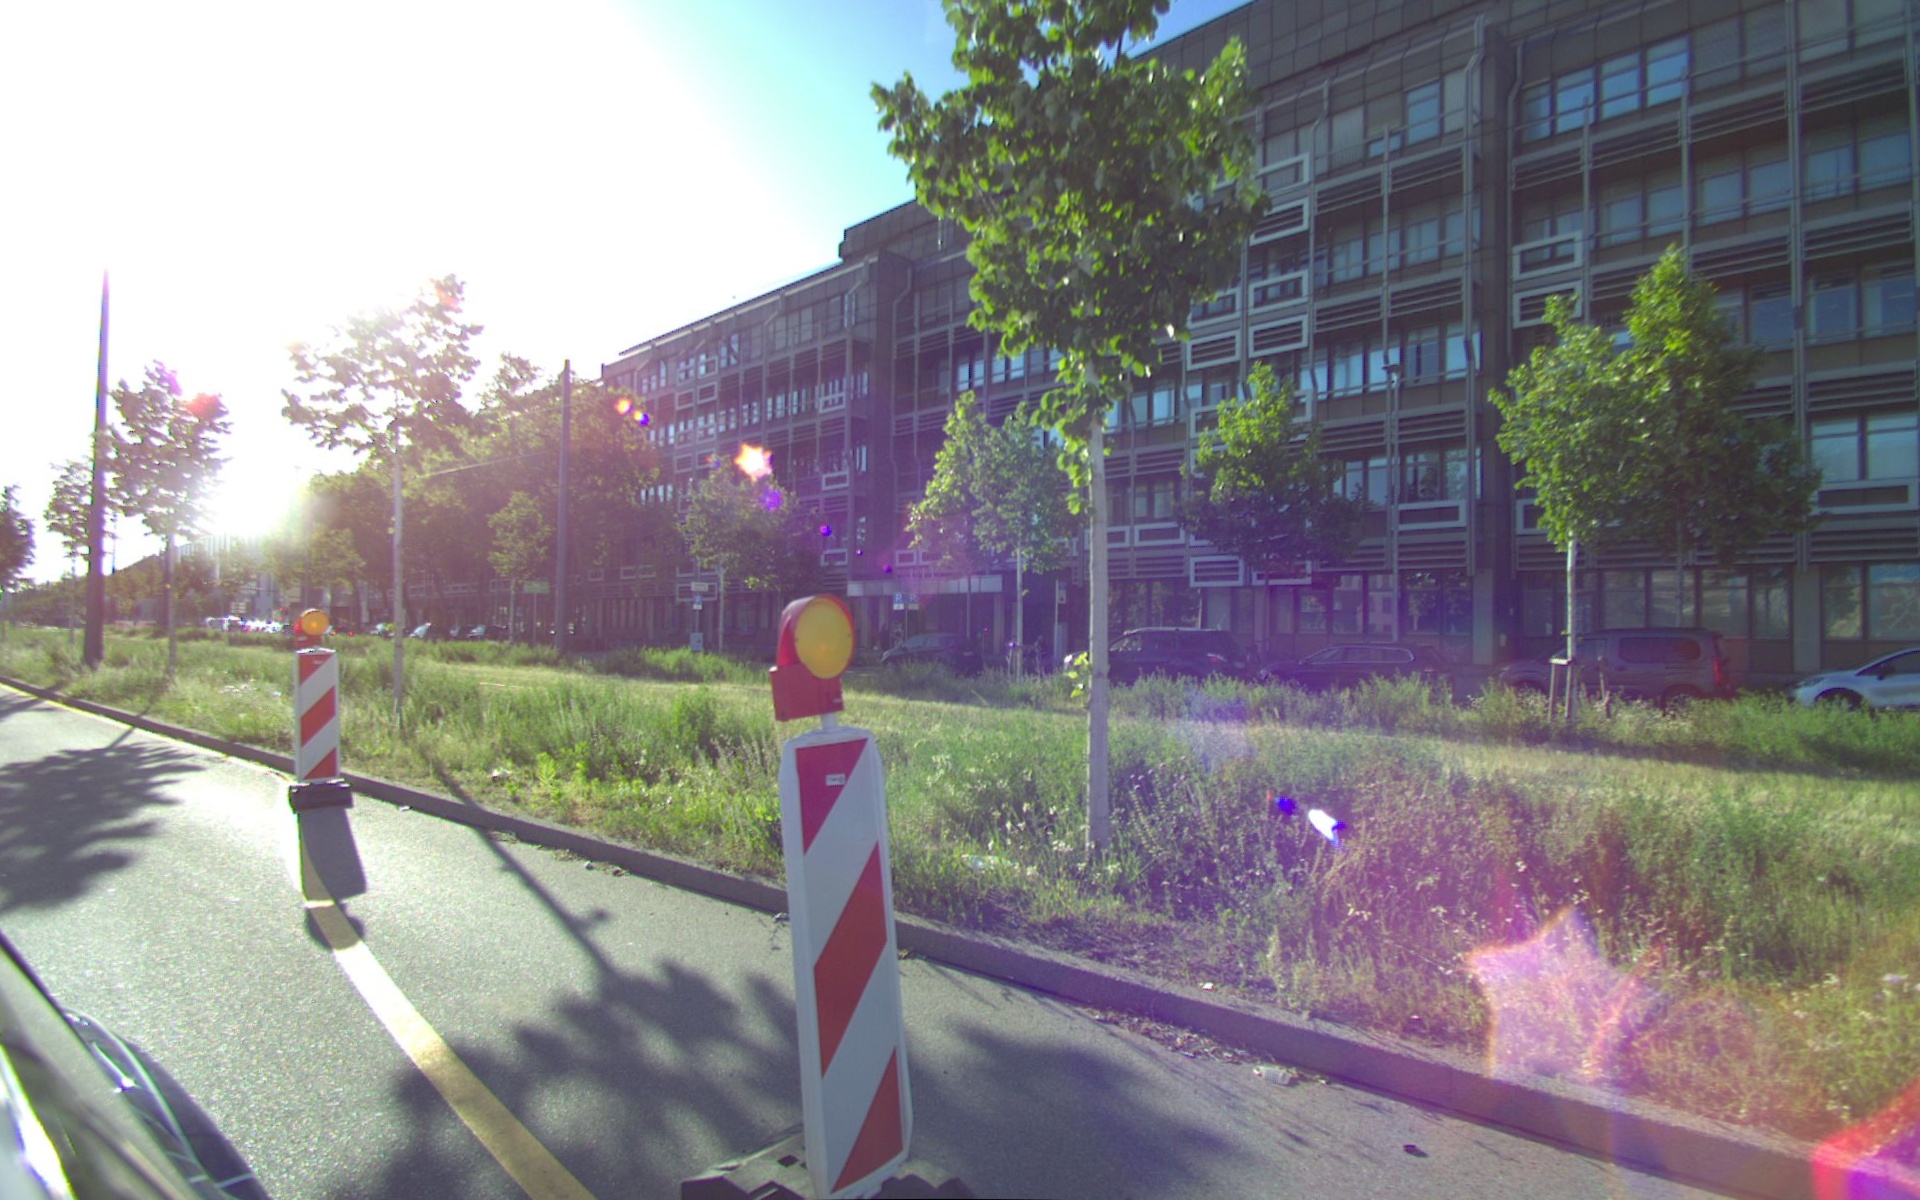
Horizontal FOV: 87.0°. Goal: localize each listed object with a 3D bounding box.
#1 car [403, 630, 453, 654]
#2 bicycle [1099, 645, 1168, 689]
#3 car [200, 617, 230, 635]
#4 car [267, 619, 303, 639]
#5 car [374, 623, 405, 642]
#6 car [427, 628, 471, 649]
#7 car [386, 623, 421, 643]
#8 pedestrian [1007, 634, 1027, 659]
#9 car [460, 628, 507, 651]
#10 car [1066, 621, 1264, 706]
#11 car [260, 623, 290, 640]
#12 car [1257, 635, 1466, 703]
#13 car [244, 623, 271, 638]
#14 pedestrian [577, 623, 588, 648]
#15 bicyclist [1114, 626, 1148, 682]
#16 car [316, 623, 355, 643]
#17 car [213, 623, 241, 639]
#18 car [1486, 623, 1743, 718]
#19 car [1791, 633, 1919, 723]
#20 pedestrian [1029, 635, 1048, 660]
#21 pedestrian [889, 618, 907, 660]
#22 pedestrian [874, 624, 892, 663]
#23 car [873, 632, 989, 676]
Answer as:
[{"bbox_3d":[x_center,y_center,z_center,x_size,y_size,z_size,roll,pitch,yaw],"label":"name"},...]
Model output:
[{"bbox_3d":[-33.654,2.622,63.977,4.041,1.397,1.697,-1,0,44],"label":"car"},{"bbox_3d":[4.586,1.762,26.868,1.770,1.105,0.559,-2,-4,42],"label":"bicycle"},{"bbox_3d":[-75.876,2.641,103.058,3.781,1.694,1.839,-1,-3,44],"label":"car"},{"bbox_3d":[-53.040,2.306,79.486,3.781,1.507,1.609,-1,-3,45],"label":"car"},{"bbox_3d":[-49.084,2.777,87.039,3.266,1.614,1.371,-1,-1,42],"label":"car"},{"bbox_3d":[-37.890,2.828,75.038,3.630,1.497,1.704,-1,0,42],"label":"car"},{"bbox_3d":[-45.768,2.705,83.246,3.526,1.614,1.490,-1,-1,42],"label":"car"},{"bbox_3d":[2.330,1.903,41.416,0.610,0.993,0.499,3,-3,-45],"label":"pedestrian"},{"bbox_3d":[-33.541,2.760,71.196,3.631,1.555,1.703,-1,-1,42],"label":"car"},{"bbox_3d":[4.578,1.374,22.980,4.119,1.760,1.710,-1,-2,41],"label":"car"},{"bbox_3d":[-64.707,2.980,95.571,3.781,1.507,1.609,-1,-3,45],"label":"car"},{"bbox_3d":[9.843,1.629,25.045,4.502,1.480,1.711,-2,-1,42],"label":"car"},{"bbox_3d":[-71.064,3.075,102.401,3.781,1.390,1.533,-1,-3,45],"label":"car"},{"bbox_3d":[-27.136,2.551,72.691,0.639,1.763,0.477,-2,-3,44],"label":"pedestrian"},{"bbox_3d":[4.556,1.435,26.922,0.705,1.468,0.559,-2,-4,41],"label":"bicyclist"},{"bbox_3d":[-50.077,2.628,81.133,4.418,1.507,1.609,-1,-3,45],"label":"car"},{"bbox_3d":[-69.314,2.919,95.684,3.781,1.390,1.533,-1,-3,45],"label":"car"},{"bbox_3d":[13.777,1.408,21.471,4.331,1.785,1.731,-2,-2,43],"label":"car"},{"bbox_3d":[17.501,1.381,18.163,3.884,1.548,1.719,-2,-2,43],"label":"car"},{"bbox_3d":[3.150,1.894,40.615,0.610,0.993,0.499,3,-3,-45],"label":"pedestrian"},{"bbox_3d":[-2.613,1.649,42.691,0.514,1.735,0.537,3,-3,-44],"label":"pedestrian"},{"bbox_3d":[-3.215,1.823,42.357,0.514,1.590,0.537,3,-3,-44],"label":"pedestrian"},{"bbox_3d":[-1.059,1.852,35.303,4.040,1.397,1.697,-1,-1,43],"label":"car"}]
